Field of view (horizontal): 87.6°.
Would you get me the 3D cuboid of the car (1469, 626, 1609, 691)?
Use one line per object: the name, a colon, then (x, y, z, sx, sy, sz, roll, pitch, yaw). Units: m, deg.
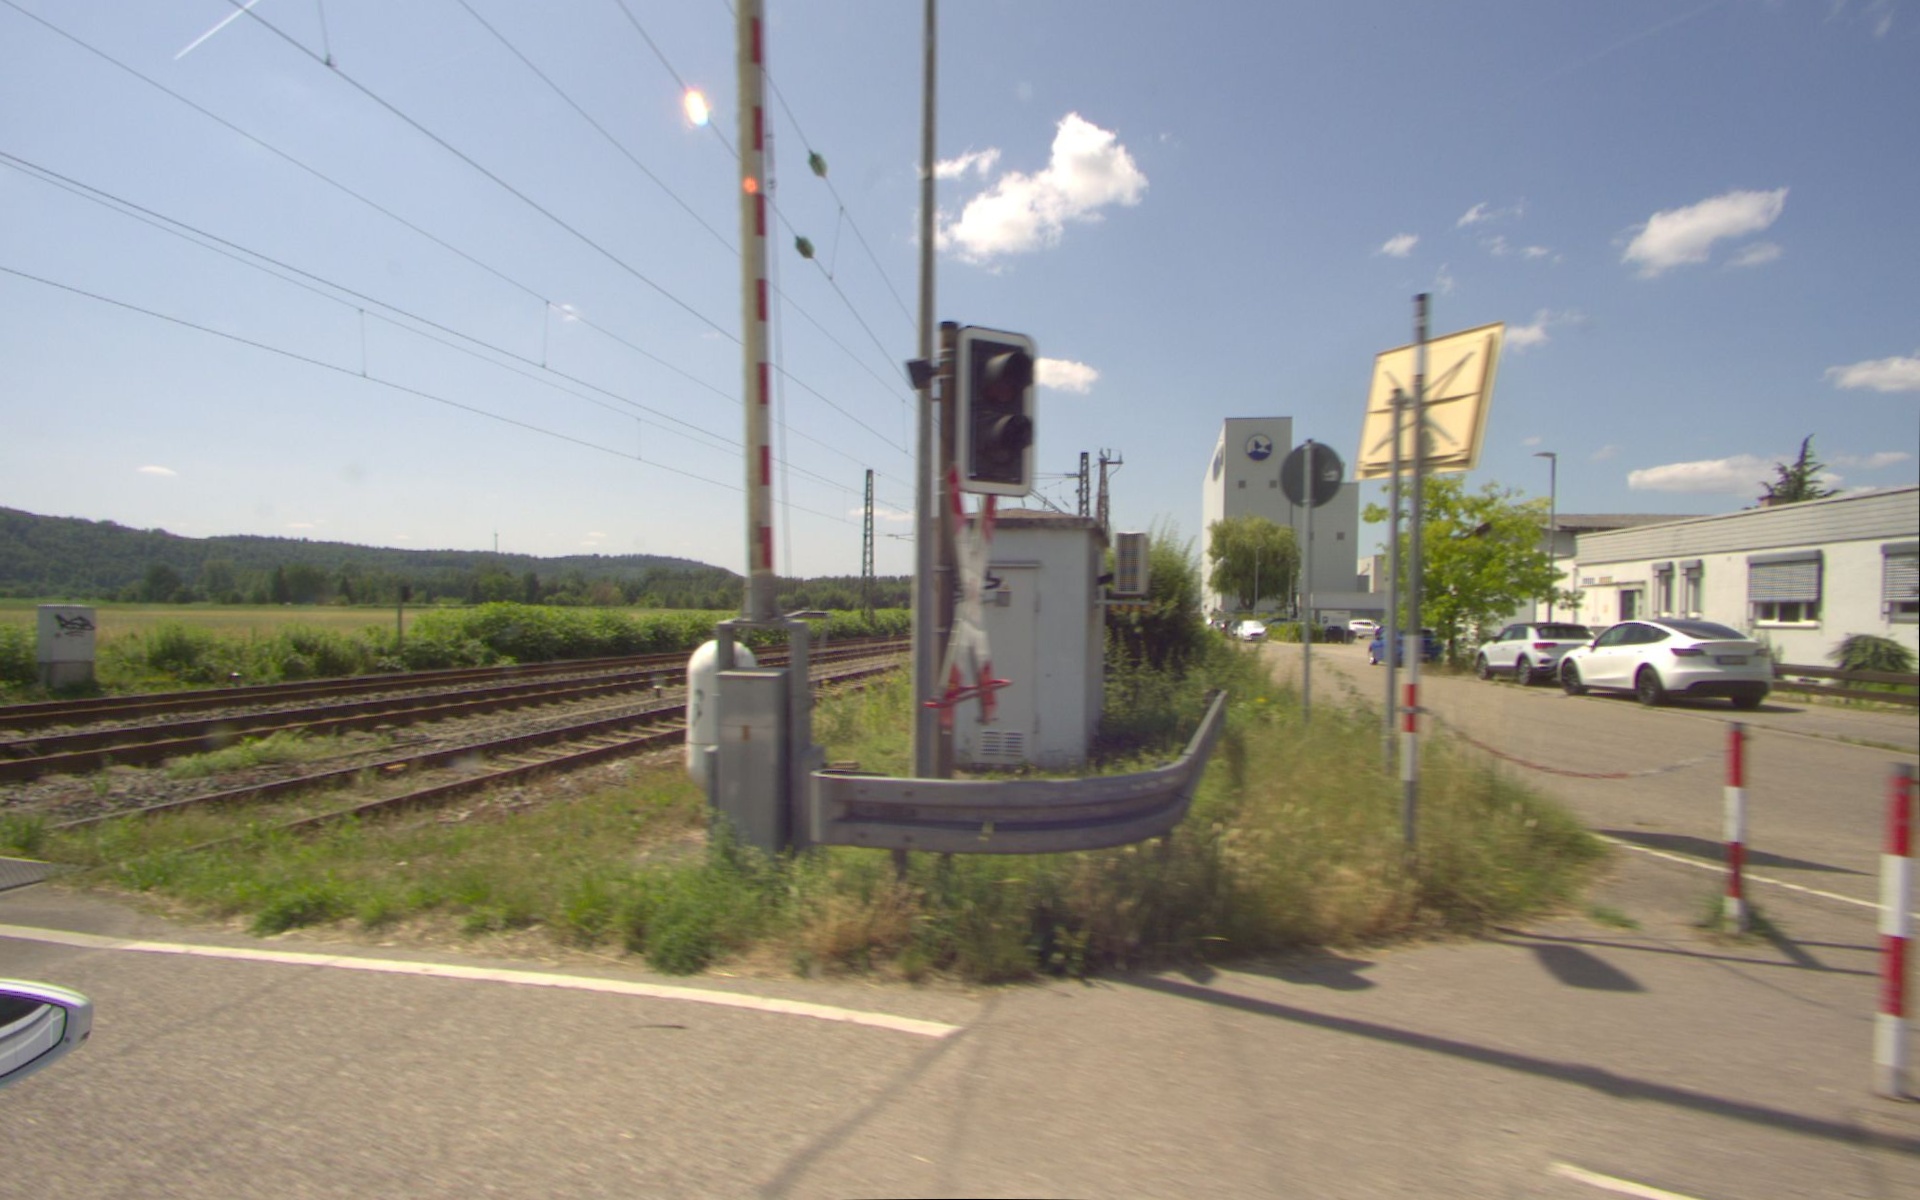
car: (14.682, 1.430, 25.633, 1.619, 1.474, 4.000, 1, -1, 7)

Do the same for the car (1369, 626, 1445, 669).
car: (15.911, 1.661, 35.770, 1.549, 1.394, 3.055, 1, 0, 5)

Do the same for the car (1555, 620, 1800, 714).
car: (13.903, 1.217, 19.797, 1.961, 1.530, 4.453, 1, 0, 6)

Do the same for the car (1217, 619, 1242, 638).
car: (22.103, 2.326, 82.231, 1.565, 1.472, 3.332, 1, 0, 9)

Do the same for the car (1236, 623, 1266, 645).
car: (20.450, 2.360, 70.429, 1.565, 1.472, 3.332, 1, 0, 9)
